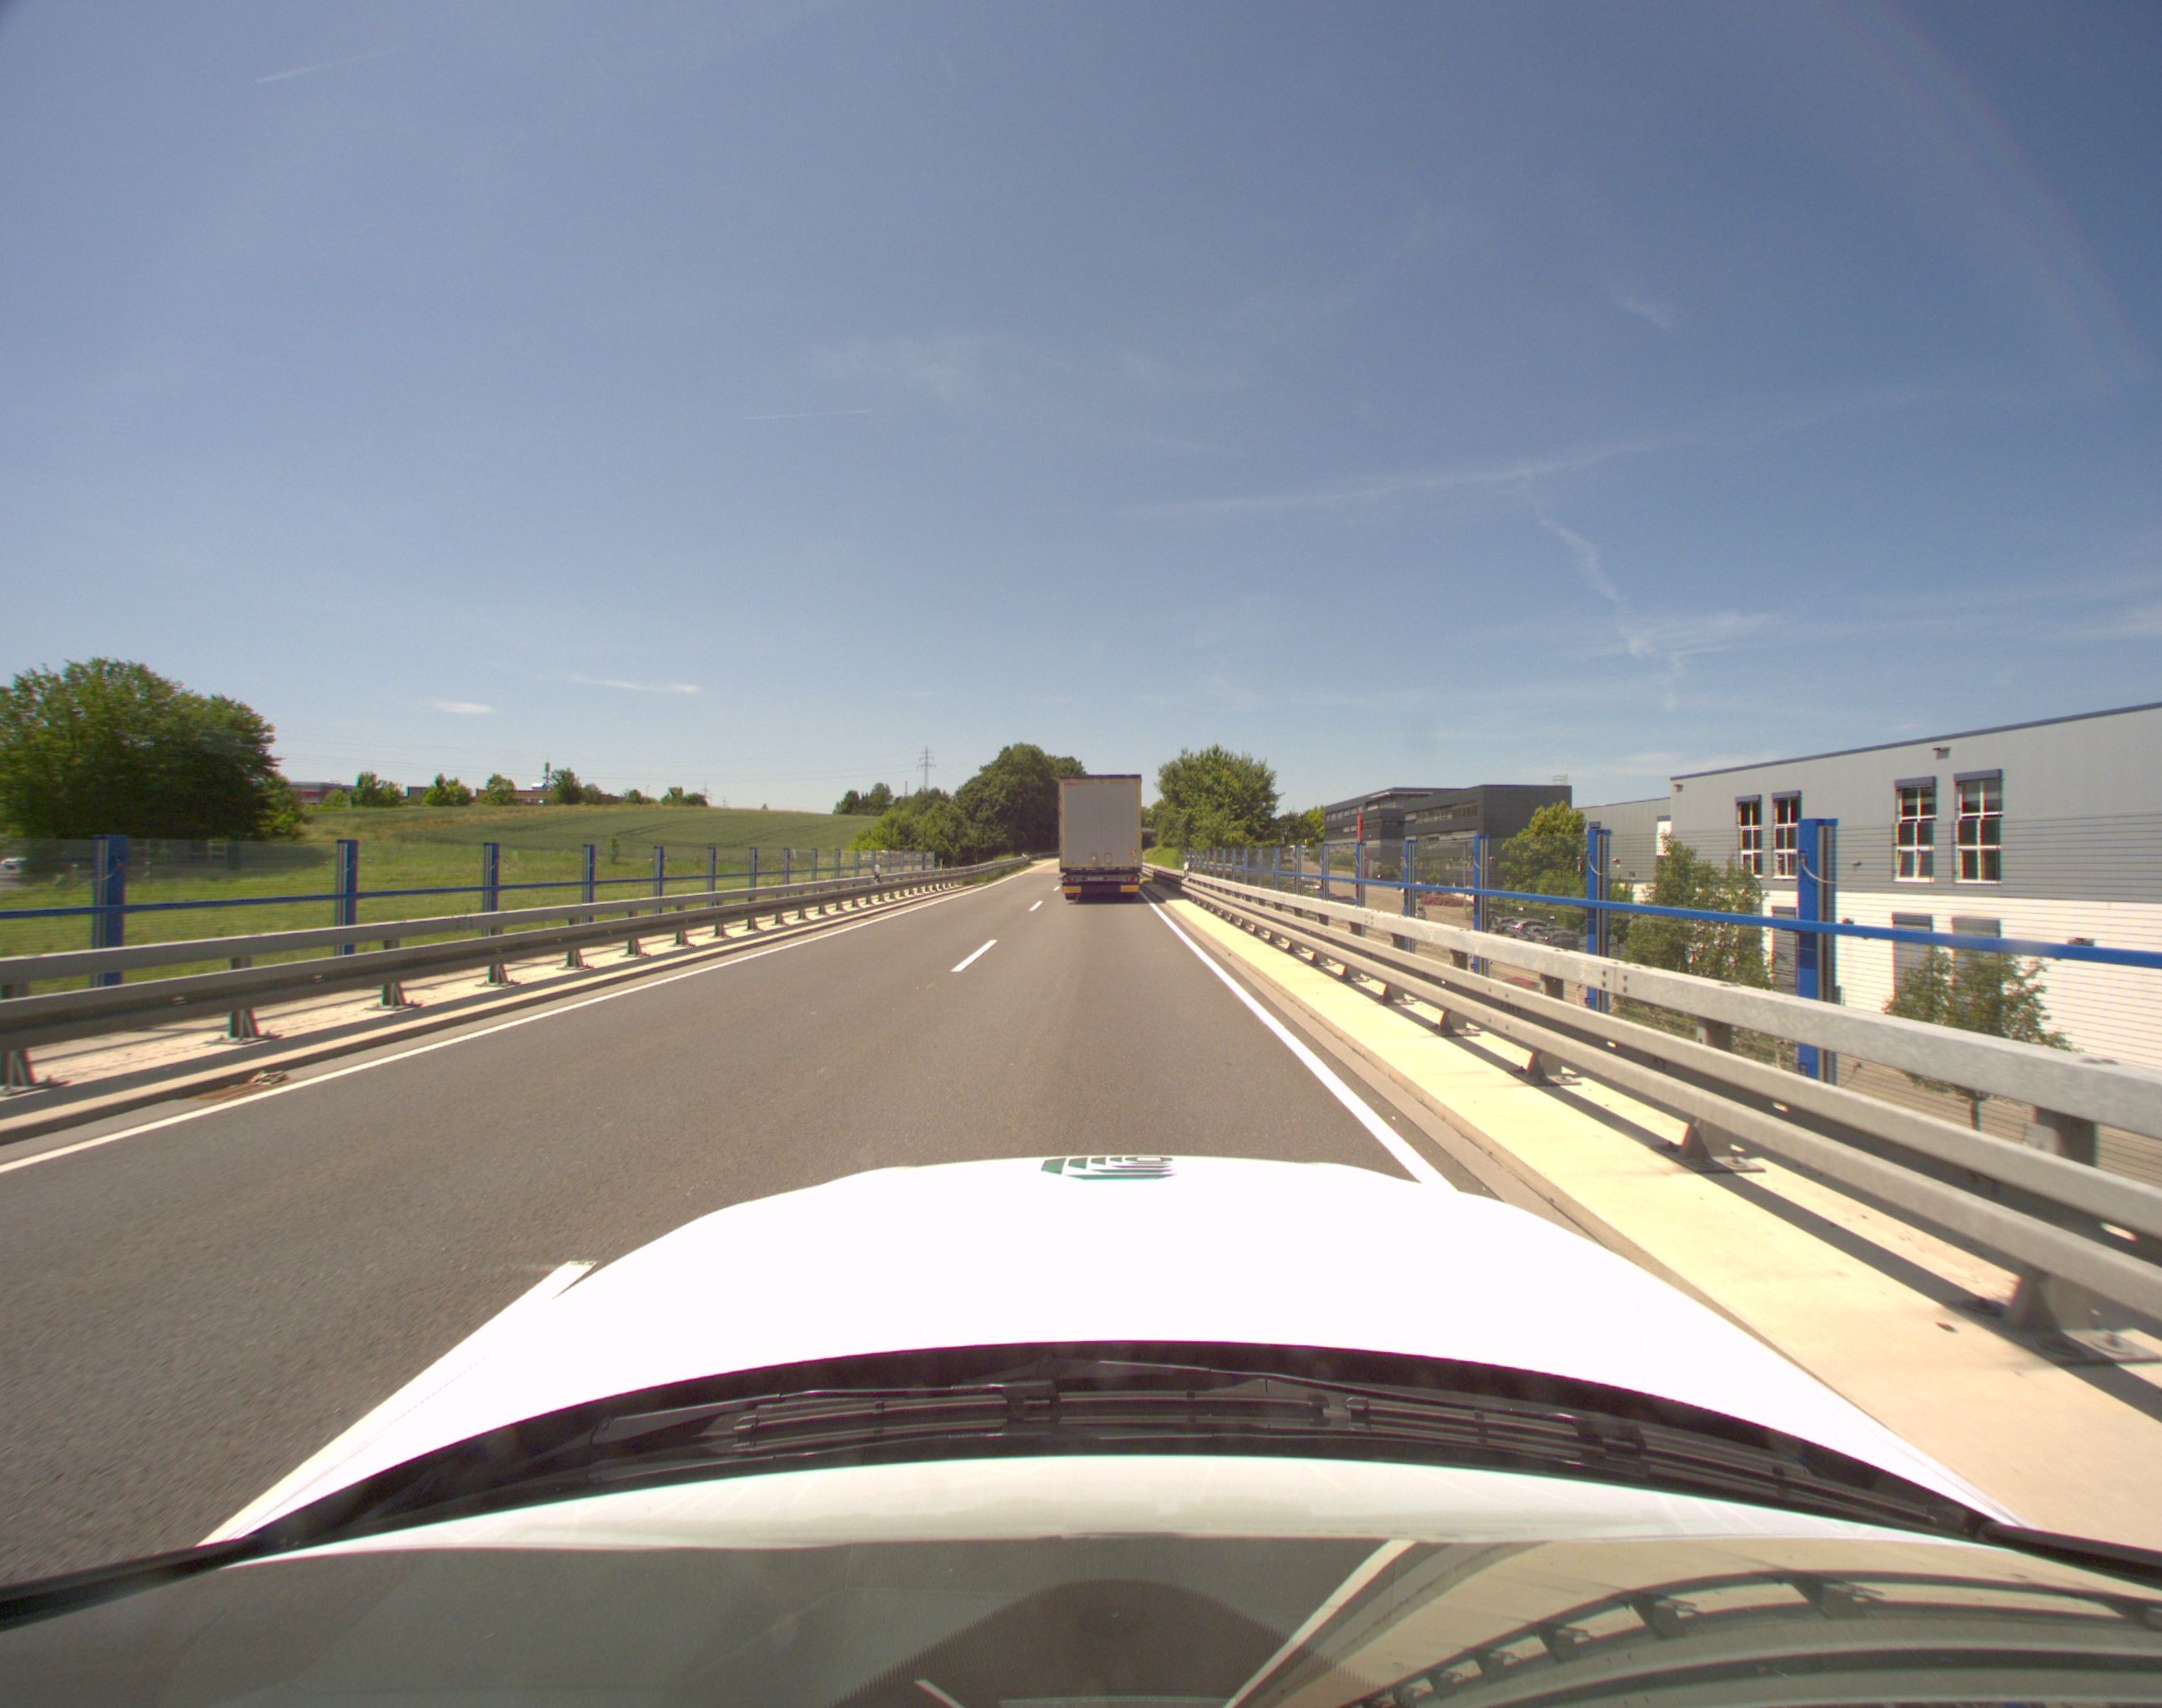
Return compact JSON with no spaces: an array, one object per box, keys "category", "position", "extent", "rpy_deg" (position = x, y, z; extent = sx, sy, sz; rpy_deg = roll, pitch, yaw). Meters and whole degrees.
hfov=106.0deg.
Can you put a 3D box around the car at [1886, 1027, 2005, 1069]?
[{"category":"car","position":[39.569,8.877,37.337],"extent":[3.654,1.148,1.513],"rpy_deg":[6,-1,3]}]

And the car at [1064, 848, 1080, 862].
[{"category":"car","position":[-1.027,0.135,96.678],"extent":[1.859,1.611,4.372],"rpy_deg":[0,0,0]}]

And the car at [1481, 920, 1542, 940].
[{"category":"car","position":[38.751,6.826,73.402],"extent":[4.556,1.571,1.821],"rpy_deg":[0,3,0]}]

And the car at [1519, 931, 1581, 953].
[{"category":"car","position":[39.148,7.324,68.015],"extent":[4.024,1.571,1.913],"rpy_deg":[0,3,0]}]

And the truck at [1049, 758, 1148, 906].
[{"category":"truck","position":[0.652,-0.744,29.481],"extent":[2.856,4.359,9.792],"rpy_deg":[2,1,1]}]
